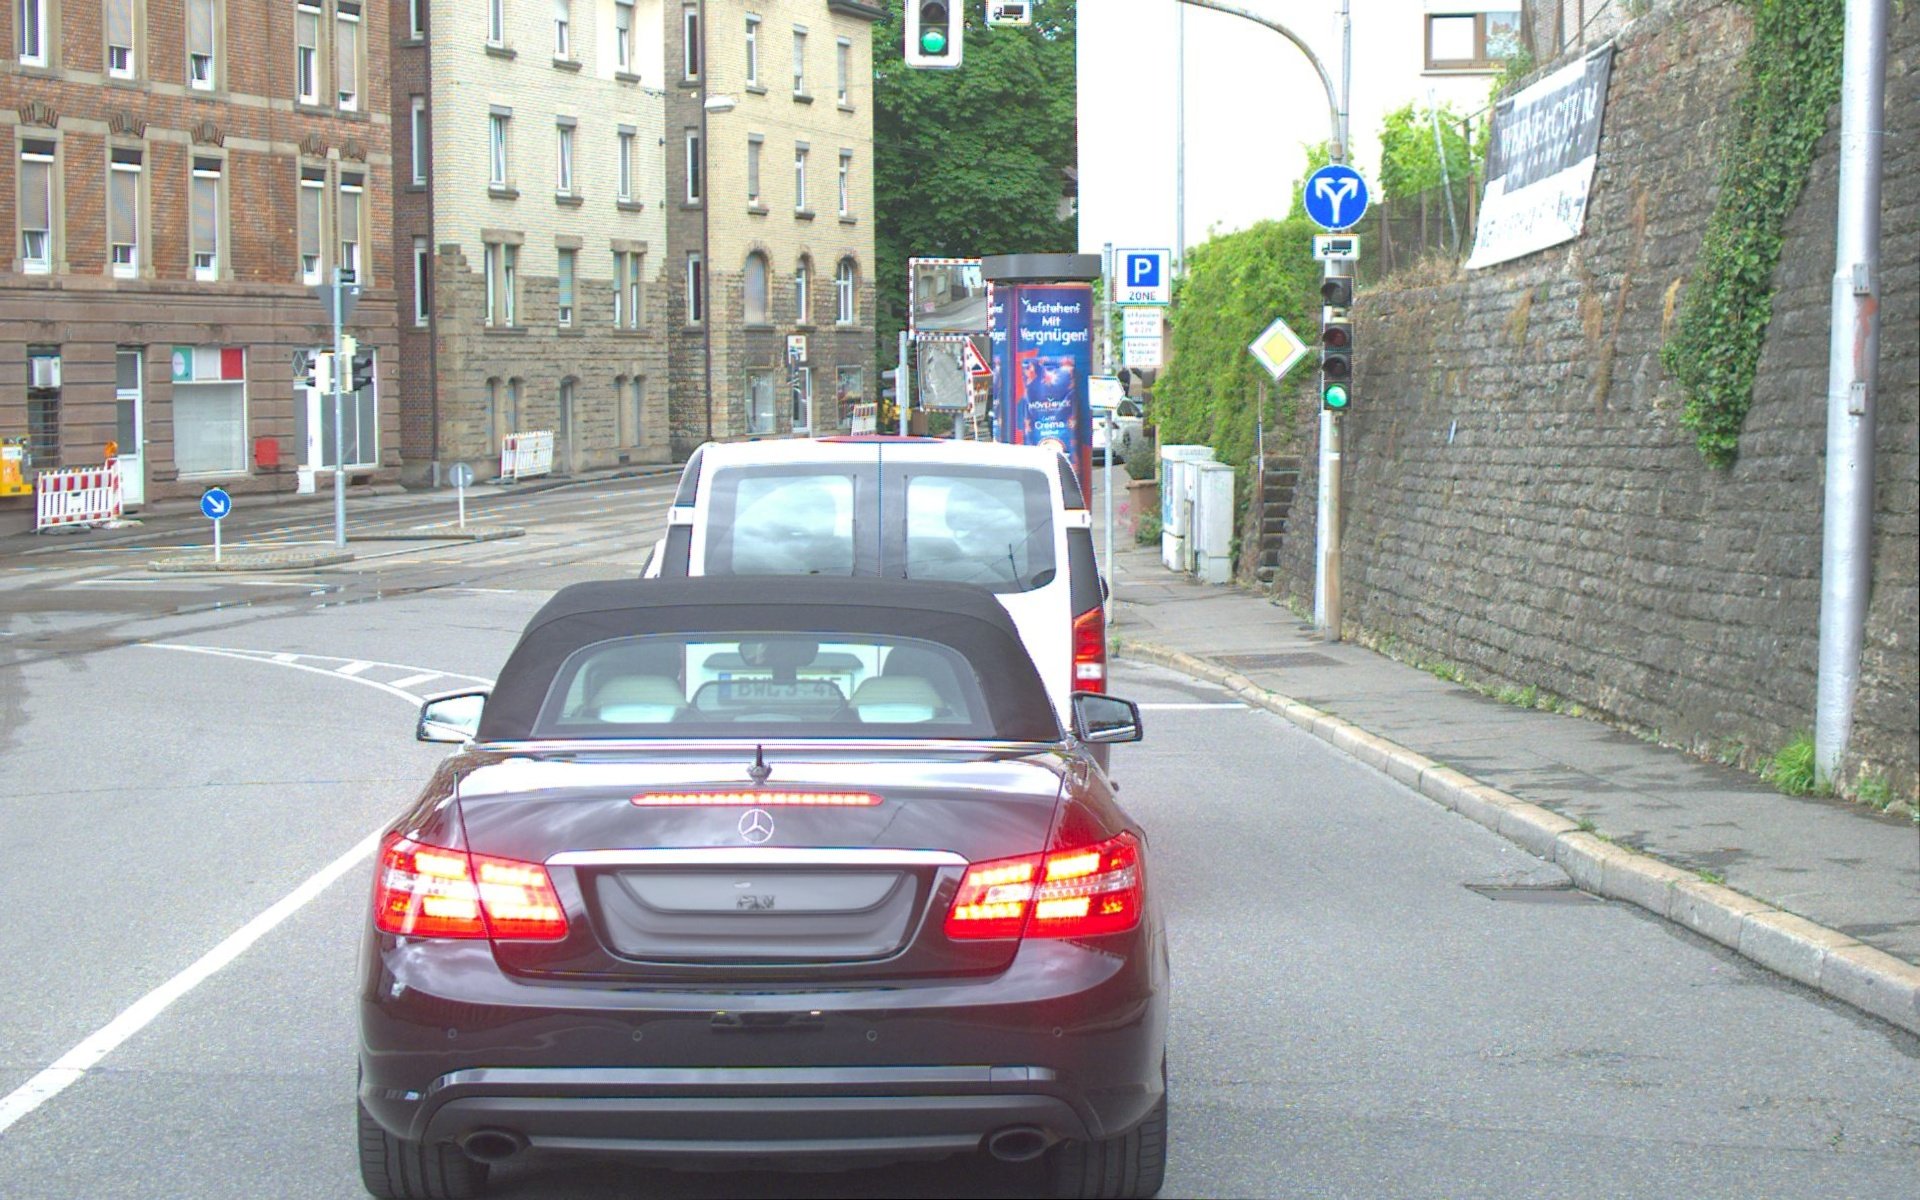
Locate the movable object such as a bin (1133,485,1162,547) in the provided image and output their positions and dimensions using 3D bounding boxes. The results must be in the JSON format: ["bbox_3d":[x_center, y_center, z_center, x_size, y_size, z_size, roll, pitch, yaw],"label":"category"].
[{"bbox_3d":[2.776,-1.245,50.916,0.343,0.908,0.495,0,2,-6],"label":"movable object such as a bin"}]

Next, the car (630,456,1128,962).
[{"bbox_3d":[-0.340,0.347,15.496,1.891,1.922,4.646,1,2,-1],"label":"car"}]

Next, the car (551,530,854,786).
[{"bbox_3d":[-1.547,0.295,21.835,1.681,1.461,3.919,0,1,-1],"label":"car"}]

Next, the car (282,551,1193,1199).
[{"bbox_3d":[-0.457,0.602,8.860,1.761,1.404,4.399,0,1,-1],"label":"car"}]

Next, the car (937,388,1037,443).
[{"bbox_3d":[0.848,-5.580,103.675,1.995,1.509,4.284,0,5,15],"label":"car"}]
